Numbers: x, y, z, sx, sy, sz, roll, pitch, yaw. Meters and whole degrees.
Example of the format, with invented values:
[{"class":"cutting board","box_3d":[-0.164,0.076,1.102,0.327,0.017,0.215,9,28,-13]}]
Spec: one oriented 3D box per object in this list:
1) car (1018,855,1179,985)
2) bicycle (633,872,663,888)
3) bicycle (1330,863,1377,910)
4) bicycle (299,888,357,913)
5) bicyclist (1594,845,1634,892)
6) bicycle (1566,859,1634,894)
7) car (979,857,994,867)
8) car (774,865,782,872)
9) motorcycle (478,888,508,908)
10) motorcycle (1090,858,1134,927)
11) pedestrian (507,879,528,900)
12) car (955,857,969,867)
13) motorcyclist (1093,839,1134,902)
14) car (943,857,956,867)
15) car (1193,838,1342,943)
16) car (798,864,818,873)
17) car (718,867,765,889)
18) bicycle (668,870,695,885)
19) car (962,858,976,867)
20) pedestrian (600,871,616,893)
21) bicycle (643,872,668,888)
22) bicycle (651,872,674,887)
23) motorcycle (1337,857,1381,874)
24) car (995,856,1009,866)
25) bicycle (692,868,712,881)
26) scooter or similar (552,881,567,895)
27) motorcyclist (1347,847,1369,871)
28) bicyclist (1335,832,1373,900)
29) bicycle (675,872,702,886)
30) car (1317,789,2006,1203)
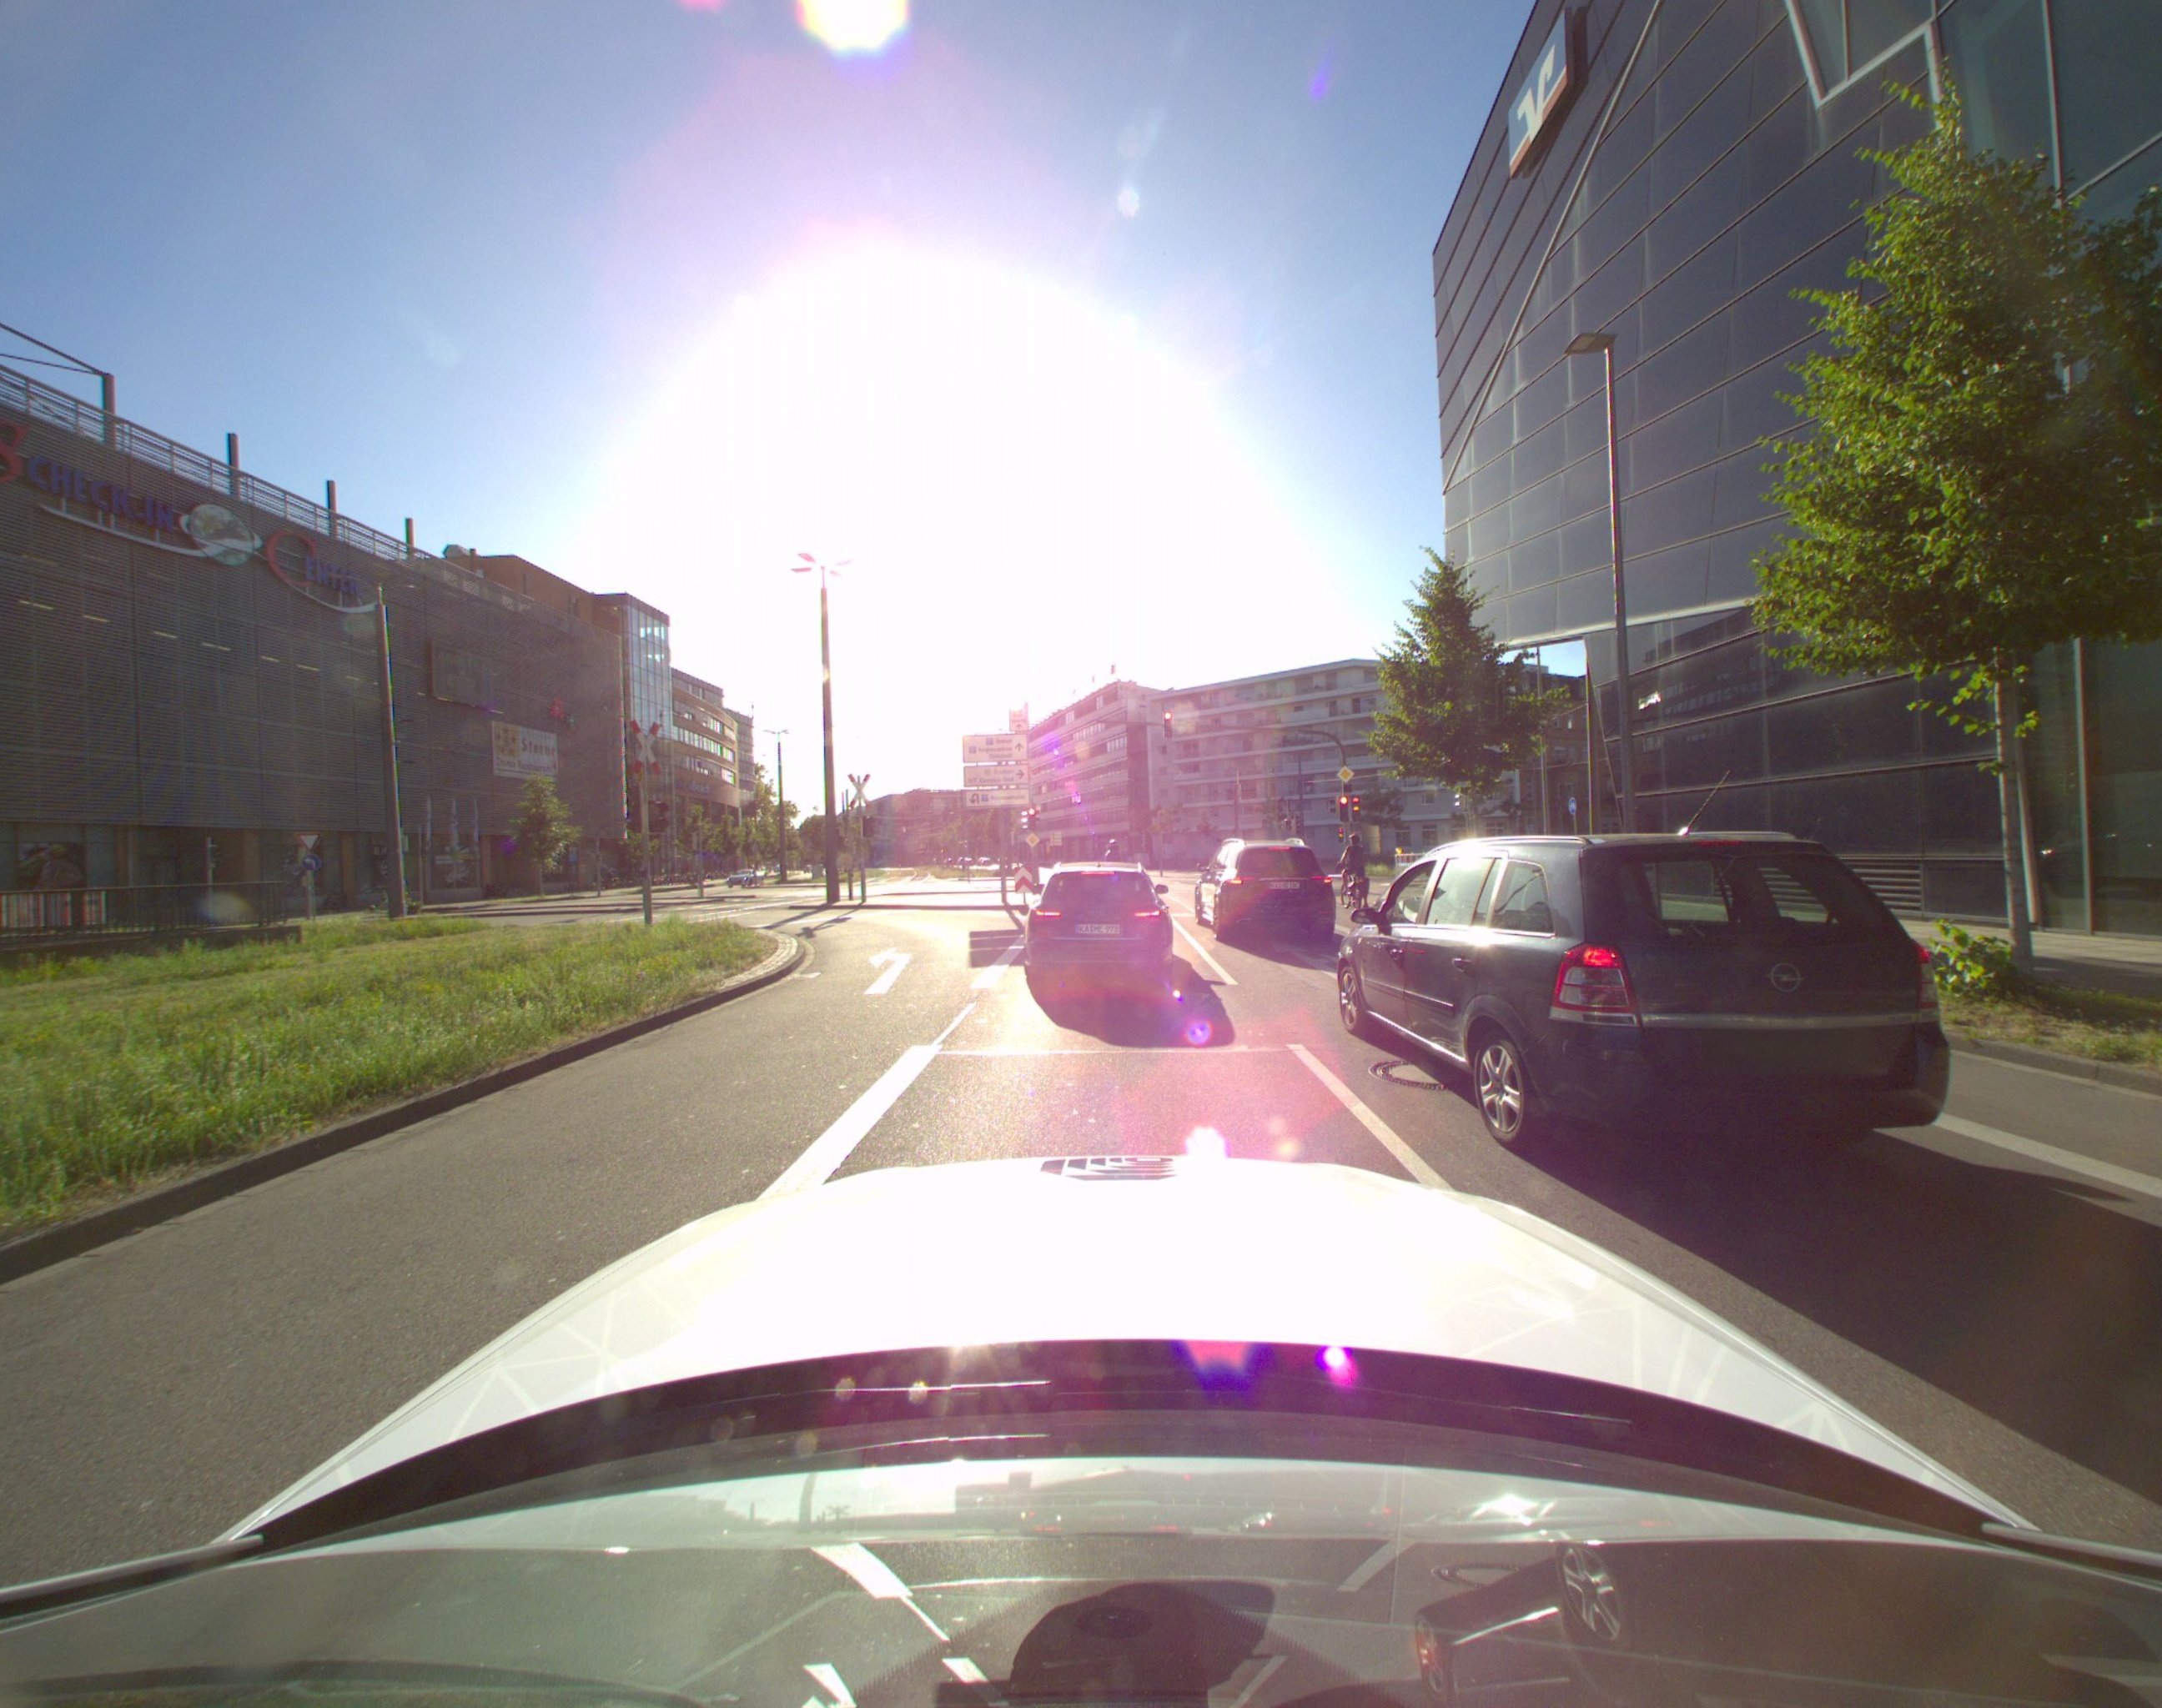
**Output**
[{"class":"car","box_3d":[0.259,0.754,11.308,1.835,1.454,4.002,0,0,2]},{"class":"bicycle","box_3d":[-43.334,2.593,81.512,2.355,1.433,1.079,-3,-1,10]},{"class":"bicycle","box_3d":[6.740,0.785,20.214,0.651,1.043,1.932,-2,0,5]},{"class":"bicycle","box_3d":[-41.461,2.531,44.878,0.796,1.220,2.418,-2,0,5]},{"class":"bicyclist","box_3d":[19.958,0.531,30.508,0.770,1.706,0.922,-2,-1,-27]},{"class":"bicycle","box_3d":[19.714,0.860,31.000,0.770,1.262,2.063,-2,0,-26]},{"class":"car","box_3d":[-16.618,1.374,142.786,1.997,1.596,3.979,-3,-1,-15]},{"class":"car","box_3d":[-78.167,3.751,210.007,1.658,1.588,3.330,-2,0,-25]},{"class":"motorcycle","box_3d":[-41.352,3.081,57.335,0.673,1.238,1.894,-3,-1,1]},{"class":"motorcycle","box_3d":[0.684,0.806,17.843,0.859,1.393,1.894,-2,0,2]},{"class":"pedestrian","box_3d":[-43.808,2.739,63.303,0.984,1.566,0.829,-3,-2,1]},{"class":"car","box_3d":[-22.259,1.514,151.877,1.998,1.706,3.977,-3,-1,-16]},{"class":"motorcyclist","box_3d":[0.717,0.354,17.981,0.859,1.326,0.681,-2,-1,2]},{"class":"car","box_3d":[-24.362,1.502,150.898,1.998,1.706,3.977,-3,-1,-16]},{"class":"car","box_3d":[3.363,0.588,15.572,1.995,1.715,4.374,0,0,2]},{"class":"car","box_3d":[-50.740,2.642,151.401,3.317,1.588,1.665,-2,0,26]},{"class":"car","box_3d":[-27.383,1.923,65.834,1.989,1.545,4.525,-2,0,-3]},{"class":"bicycle","box_3d":[-42.899,2.529,87.473,2.546,1.433,0.907,-3,-1,10]},{"class":"car","box_3d":[-19.990,1.528,145.267,1.996,1.596,3.981,-3,-1,-13]},{"class":"pedestrian","box_3d":[-41.918,2.477,72.226,0.823,1.824,0.905,-3,-2,3]},{"class":"bicycle","box_3d":[-43.134,2.638,82.559,2.070,1.433,0.863,-3,-1,10]},{"class":"bicycle","box_3d":[-43.048,2.664,83.688,1.965,1.433,0.809,-3,-1,10]},{"class":"motorcycle","box_3d":[17.735,0.724,51.990,2.445,1.000,1.171,-2,0,-1]},{"class":"car","box_3d":[-15.036,1.345,154.719,1.996,1.838,3.981,-3,-1,-13]},{"class":"bicycle","box_3d":[-46.844,2.501,100.595,2.125,1.433,0.761,-3,-1,10]},{"class":"scooter or similar","box_3d":[-42.490,2.754,66.326,0.419,1.110,1.153,-3,-1,3]},{"class":"motorcyclist","box_3d":[17.672,0.306,51.990,0.922,1.481,1.171,-2,0,-1]},{"class":"bicyclist","box_3d":[6.762,0.289,20.213,0.651,1.642,0.973,-2,0,5]},{"class":"bicycle","box_3d":[-43.218,2.756,89.730,2.546,1.433,0.907,-3,-1,10]},{"class":"car","box_3d":[3.002,0.588,5.490,1.739,1.696,4.263,0,0,2]}]
